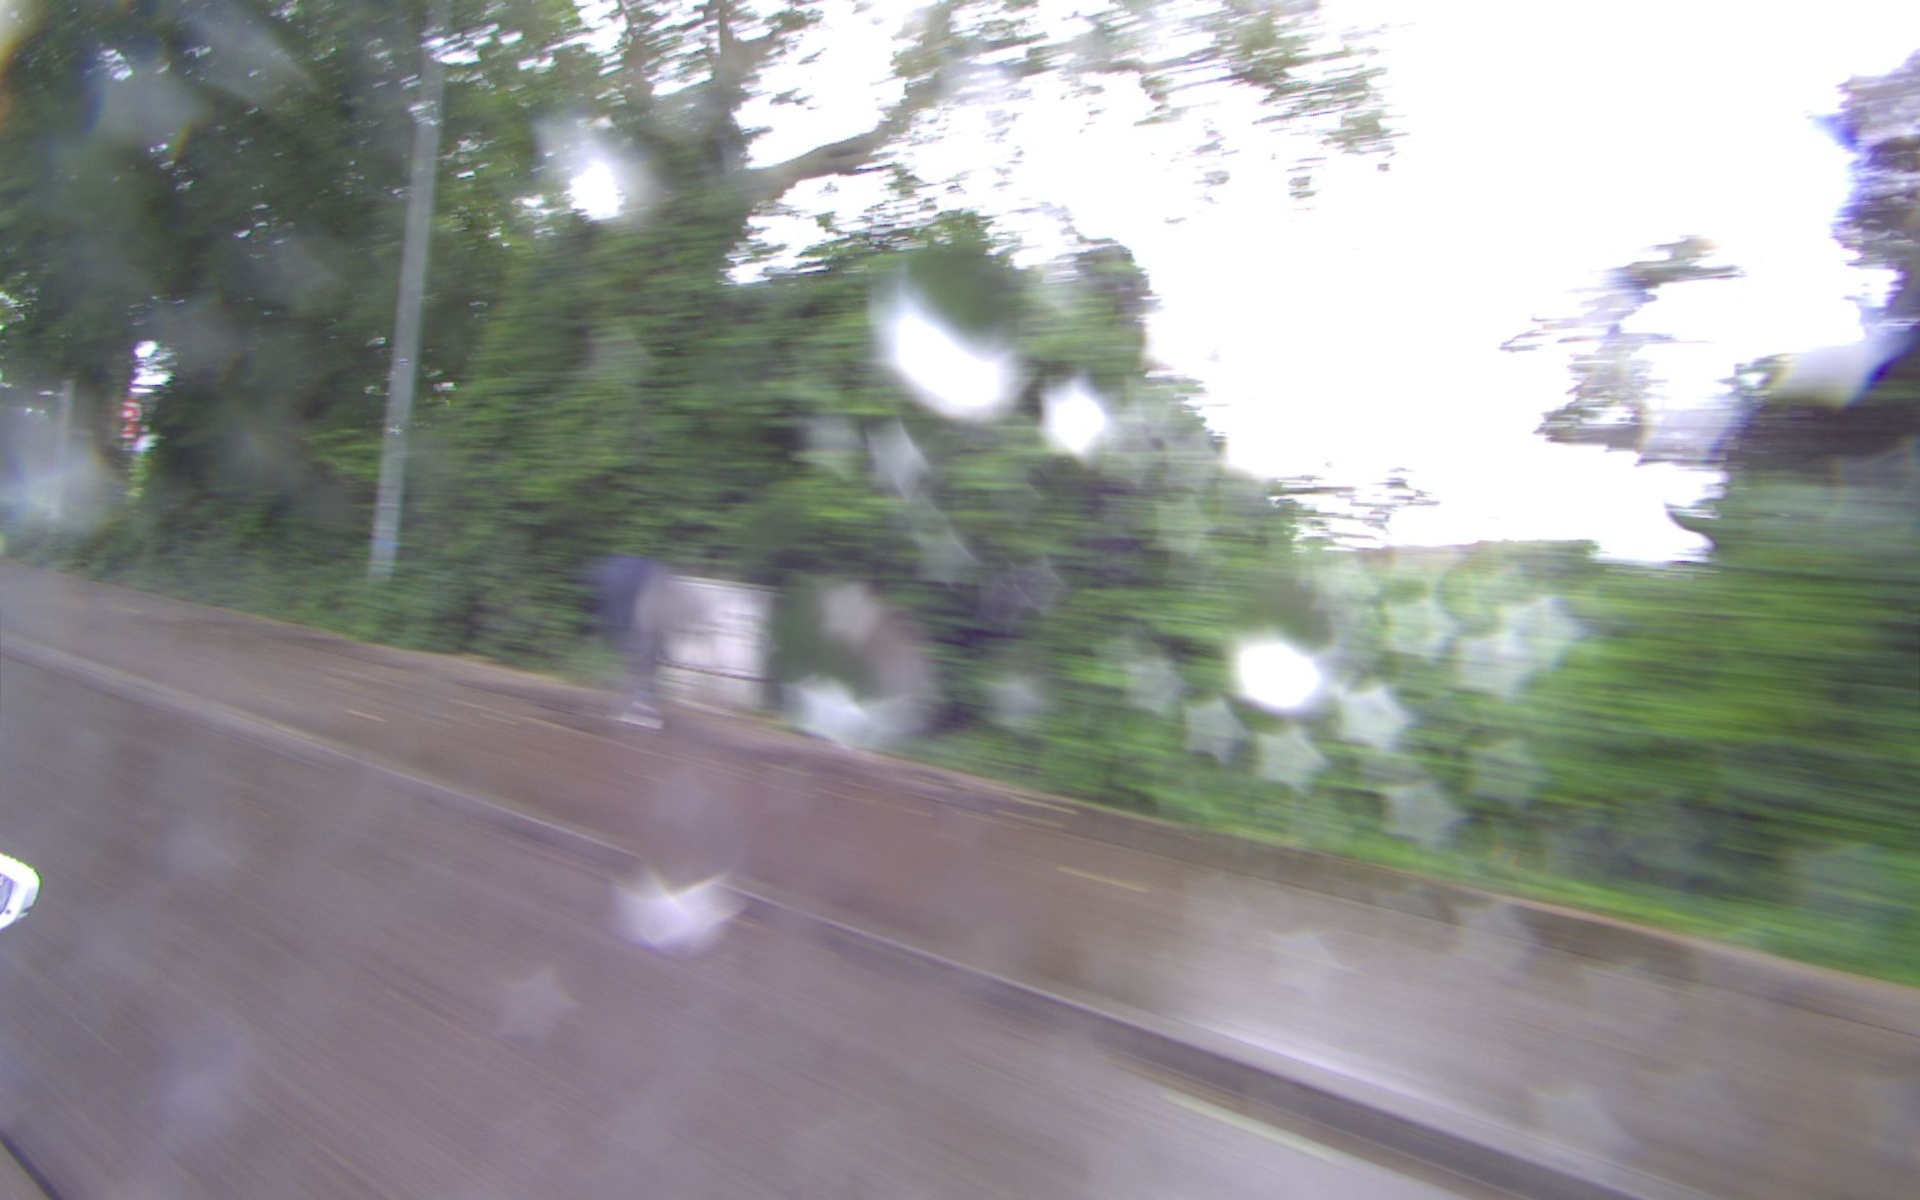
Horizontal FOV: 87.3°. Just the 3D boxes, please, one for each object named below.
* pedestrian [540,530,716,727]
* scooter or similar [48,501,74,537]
[{"bbox_3d":[-3.210,0.276,9.762,1.122,1.723,0.968,7,0,31],"label":"pedestrian"},{"bbox_3d":[-30.626,-2.771,34.275,1.259,1.129,0.458,5,-3,45],"label":"scooter or similar"}]
